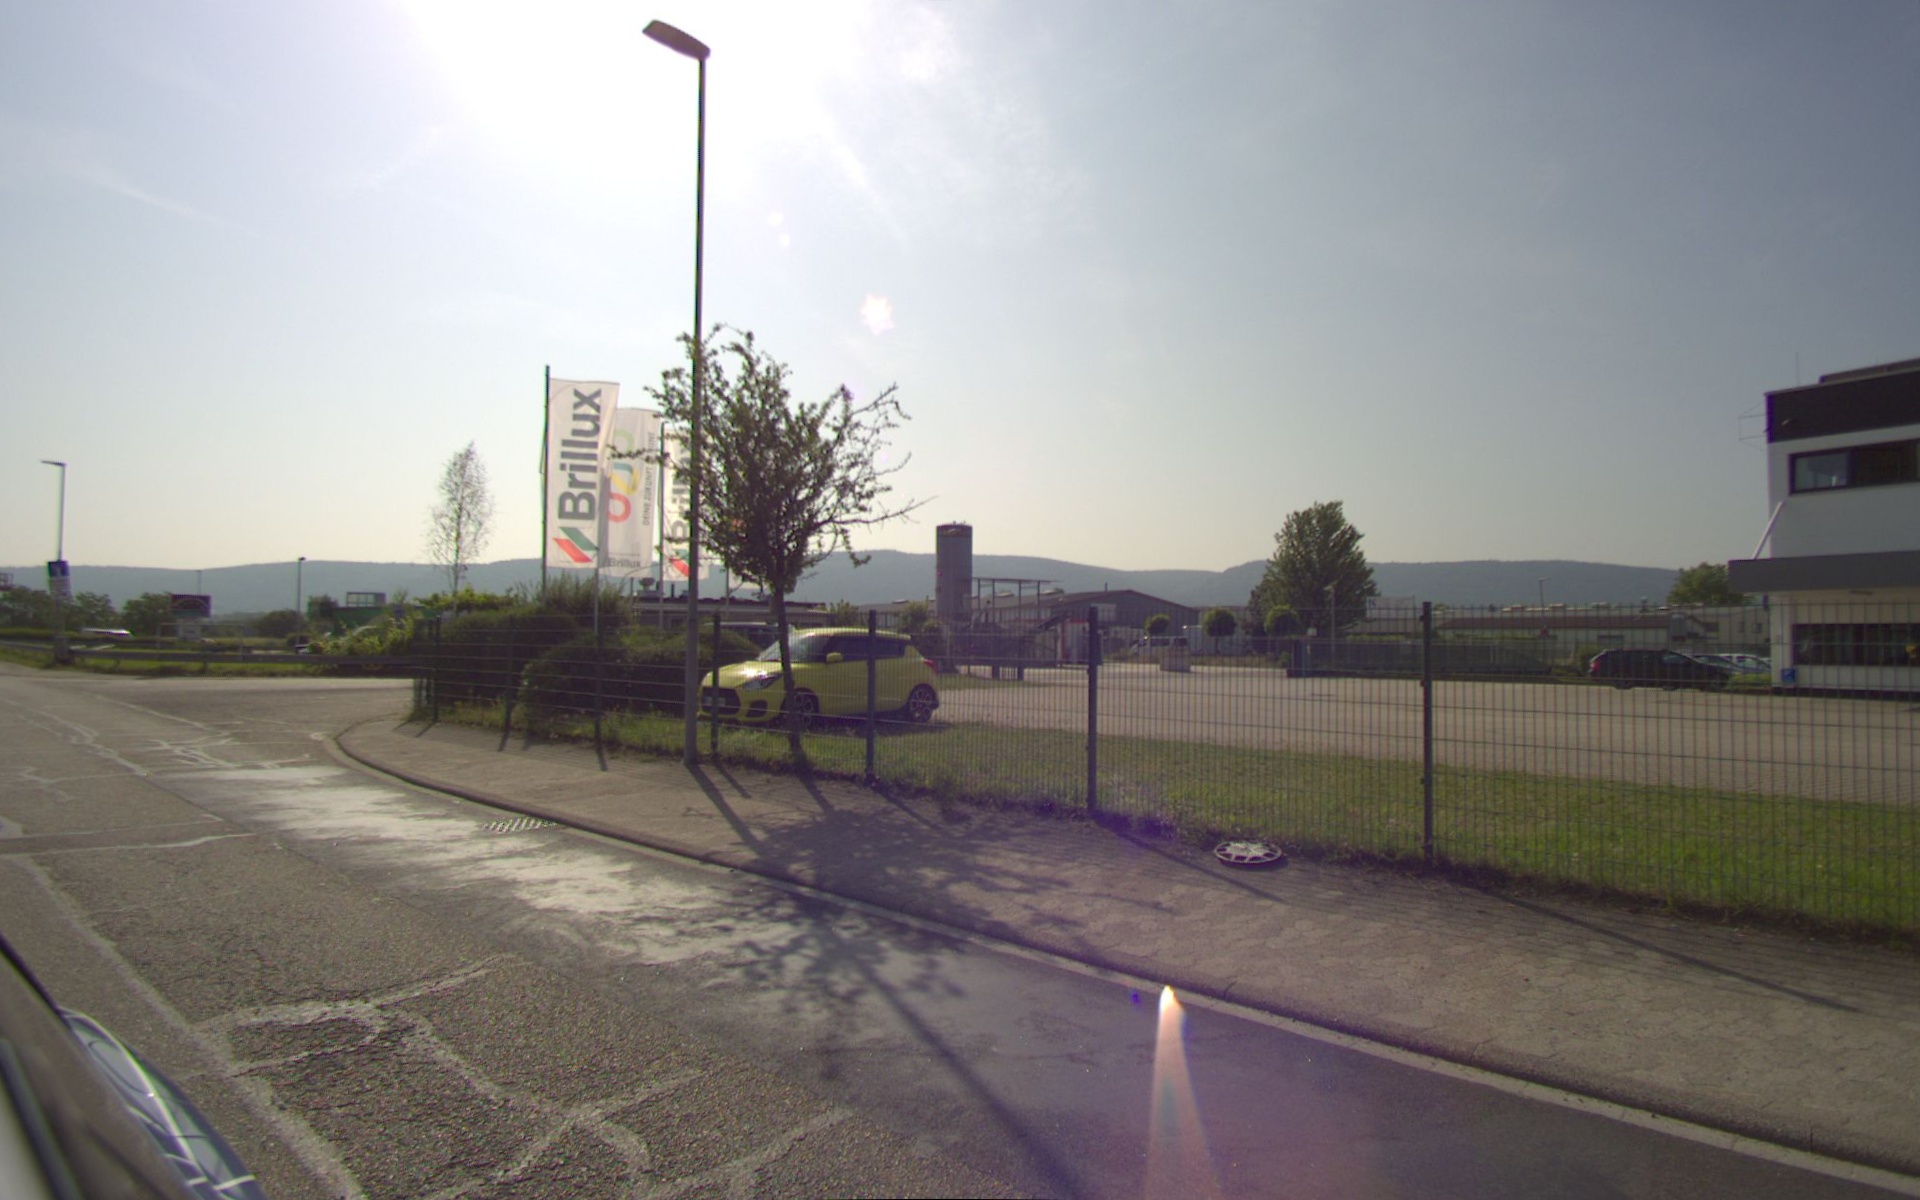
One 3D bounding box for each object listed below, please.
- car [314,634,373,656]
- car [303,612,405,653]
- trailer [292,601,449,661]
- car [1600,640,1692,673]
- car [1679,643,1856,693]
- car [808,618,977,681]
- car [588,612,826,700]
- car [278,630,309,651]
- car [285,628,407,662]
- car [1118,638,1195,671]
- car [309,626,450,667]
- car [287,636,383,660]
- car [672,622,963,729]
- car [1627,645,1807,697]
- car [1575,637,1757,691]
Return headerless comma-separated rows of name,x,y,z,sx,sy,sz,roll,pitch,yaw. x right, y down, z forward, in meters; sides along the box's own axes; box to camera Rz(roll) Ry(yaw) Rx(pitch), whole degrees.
car,-46.402,3.413,76.187,3.628,1.533,1.688,4,-4,-38
car,-37.991,2.099,63.598,5.314,2.391,2.300,3,-5,-30
trailer,-28.288,1.564,48.672,6.222,2.625,2.861,4,-4,-35
car,37.763,3.061,55.775,3.998,1.719,1.767,-1,-3,41
car,30.118,2.510,37.904,5.058,1.715,1.973,-1,-4,41
car,-2.010,1.497,30.487,4.584,1.765,2.158,2,-3,-28
car,-5.182,1.126,21.092,4.455,1.708,1.955,0,0,5
car,-66.772,4.100,101.385,1.969,2.029,4.163,4,-4,-41
car,-30.695,2.273,50.779,5.055,1.546,2.184,3,-5,-30
car,10.776,2.959,55.712,1.826,1.763,4.010,2,-3,-34
car,-26.198,2.119,45.798,5.198,1.719,2.002,4,-4,-42
car,-36.072,2.812,58.587,4.616,1.228,1.836,3,-5,-30
car,-2.011,1.067,15.234,1.868,1.379,4.120,-2,-3,41
car,27.163,2.506,36.409,5.058,1.715,1.973,-1,-4,41
car,24.408,2.179,35.128,5.055,1.715,1.974,-1,-4,38
